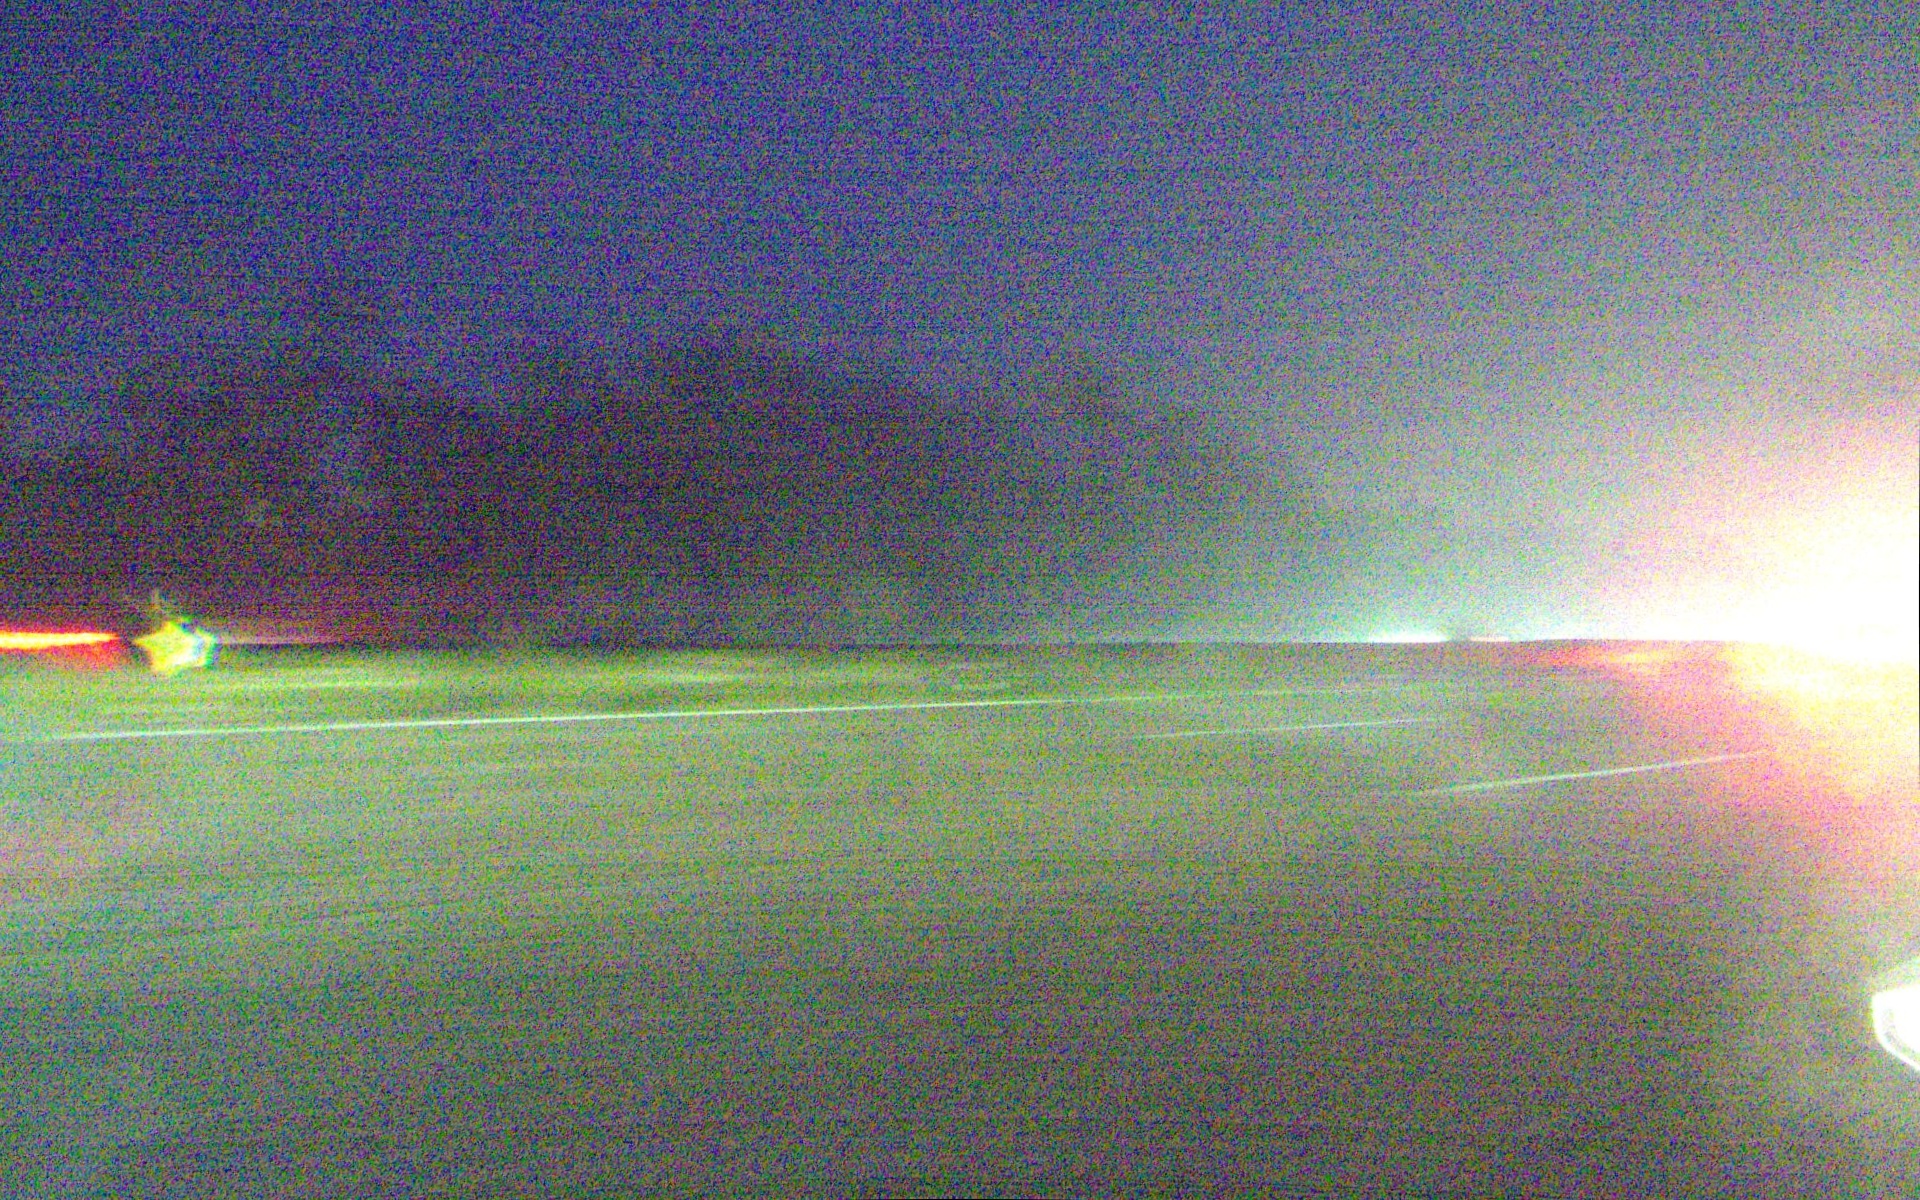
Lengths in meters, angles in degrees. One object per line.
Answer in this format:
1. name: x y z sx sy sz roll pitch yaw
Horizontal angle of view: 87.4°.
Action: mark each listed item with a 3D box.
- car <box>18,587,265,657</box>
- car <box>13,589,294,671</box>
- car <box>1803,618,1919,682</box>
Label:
1. car: -19.741 0.555 24.535 4.411 1.578 1.870 2 0 -32
2. car: -16.901 0.645 21.402 4.411 1.578 1.870 2 0 -32
3. car: 25.436 1.372 28.120 3.963 1.617 1.979 2 0 -37
